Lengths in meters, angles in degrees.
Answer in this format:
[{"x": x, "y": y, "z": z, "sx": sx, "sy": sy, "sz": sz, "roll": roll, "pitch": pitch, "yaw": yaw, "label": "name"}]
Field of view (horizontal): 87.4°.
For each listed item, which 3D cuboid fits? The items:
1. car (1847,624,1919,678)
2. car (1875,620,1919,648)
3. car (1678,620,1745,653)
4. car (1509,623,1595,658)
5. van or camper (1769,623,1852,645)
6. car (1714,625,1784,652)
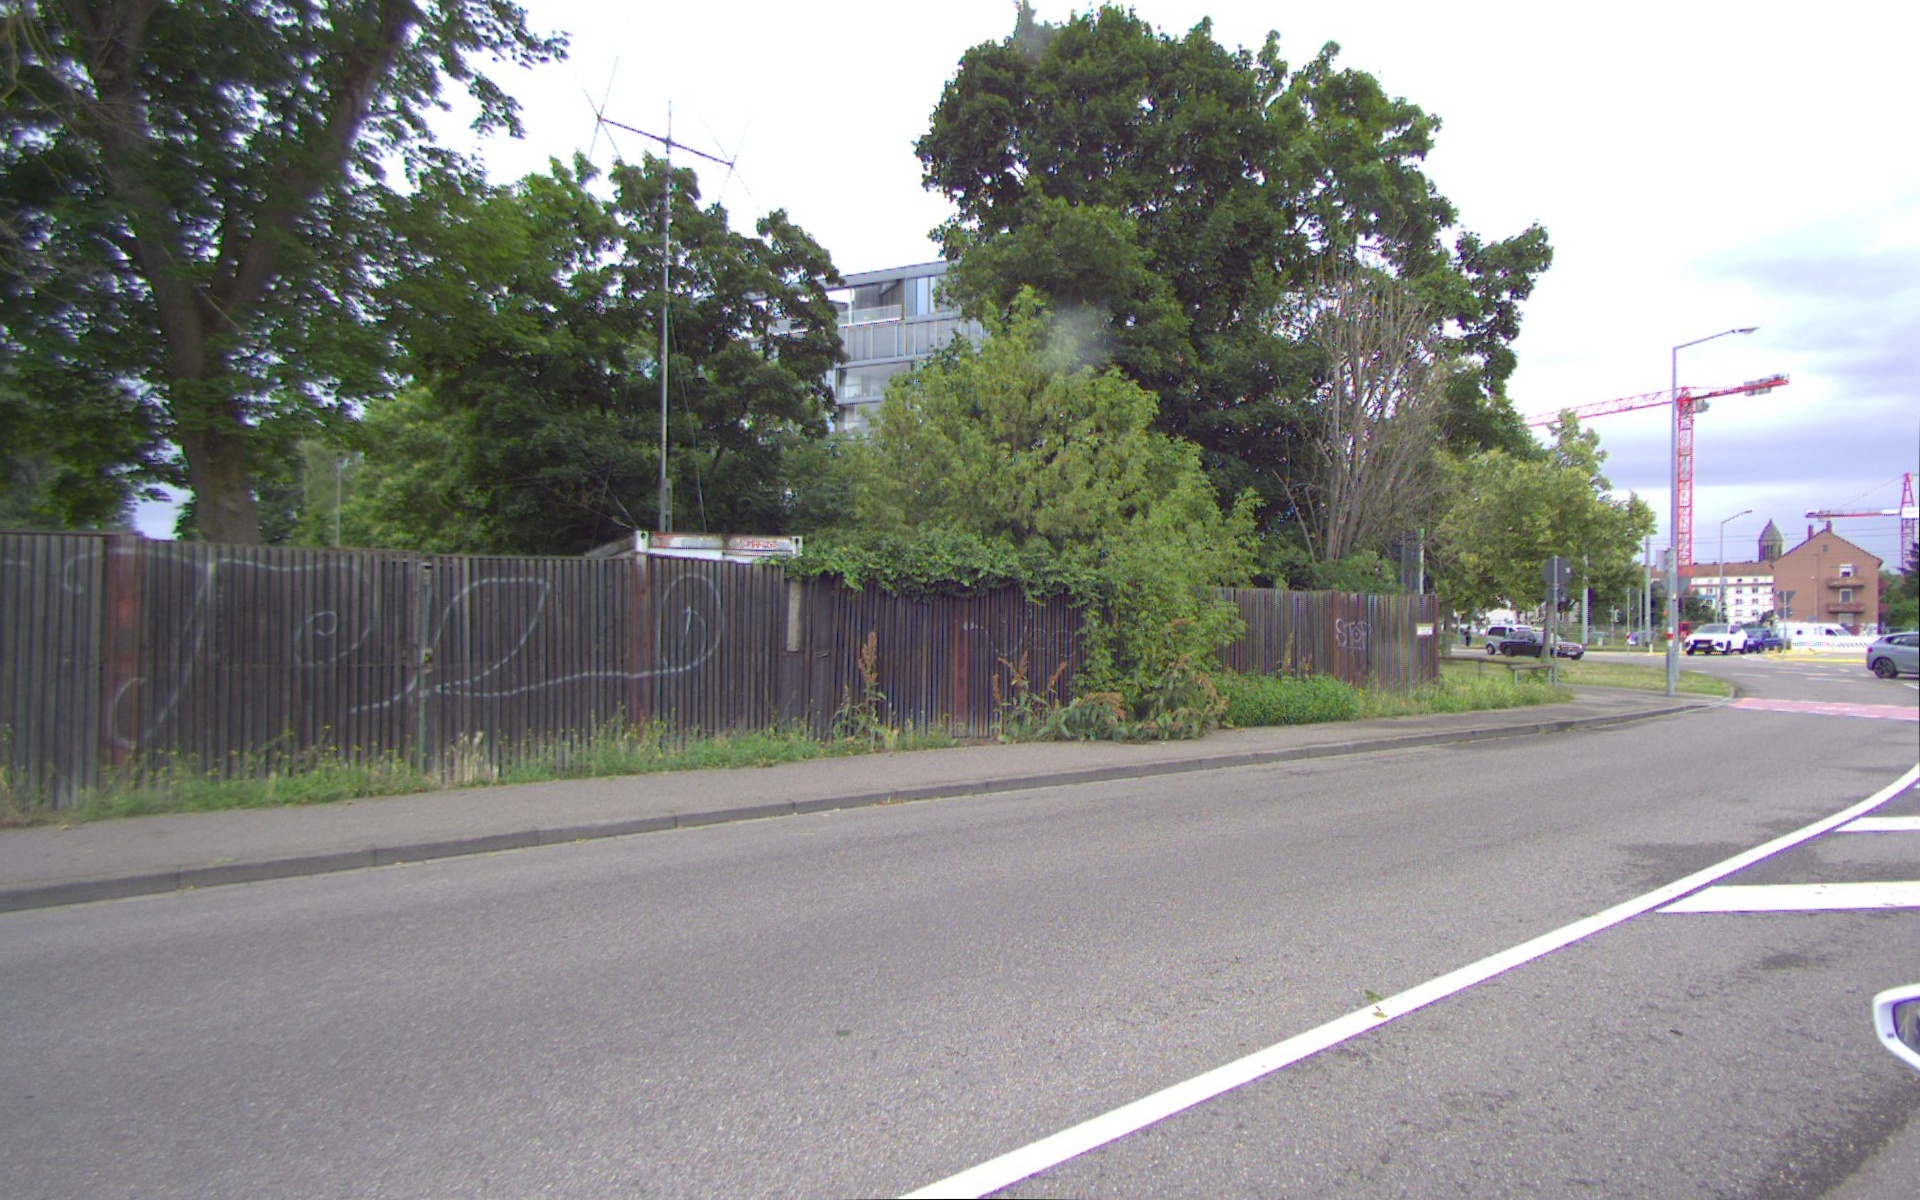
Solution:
[{"x": 29.783, "y": 1.536, "z": 30.197, "sx": 2.060, "sy": 1.624, "sz": 4.436, "roll": 0, "pitch": -1, "yaw": -6, "label": "car"}, {"x": 58.693, "y": 2.047, "z": 60.815, "sx": 4.580, "sy": 1.656, "sz": 2.001, "roll": 0, "pitch": -1, "yaw": 5, "label": "car"}, {"x": 40.571, "y": 1.953, "z": 54.186, "sx": 4.152, "sy": 1.706, "sz": 1.916, "roll": 1, "pitch": -1, "yaw": -38, "label": "car"}, {"x": 30.256, "y": 2.015, "z": 51.446, "sx": 1.961, "sy": 1.706, "sz": 3.999, "roll": 0, "pitch": -1, "yaw": -2, "label": "car"}, {"x": 84.111, "y": 3.318, "z": 99.506, "sx": 1.969, "sy": 2.040, "sz": 6.171, "roll": 1, "pitch": -1, "yaw": -19, "label": "van or camper"}, {"x": 45.794, "y": 2.200, "z": 58.296, "sx": 3.953, "sy": 1.509, "sz": 1.922, "roll": 1, "pitch": -1, "yaw": -30, "label": "car"}]
